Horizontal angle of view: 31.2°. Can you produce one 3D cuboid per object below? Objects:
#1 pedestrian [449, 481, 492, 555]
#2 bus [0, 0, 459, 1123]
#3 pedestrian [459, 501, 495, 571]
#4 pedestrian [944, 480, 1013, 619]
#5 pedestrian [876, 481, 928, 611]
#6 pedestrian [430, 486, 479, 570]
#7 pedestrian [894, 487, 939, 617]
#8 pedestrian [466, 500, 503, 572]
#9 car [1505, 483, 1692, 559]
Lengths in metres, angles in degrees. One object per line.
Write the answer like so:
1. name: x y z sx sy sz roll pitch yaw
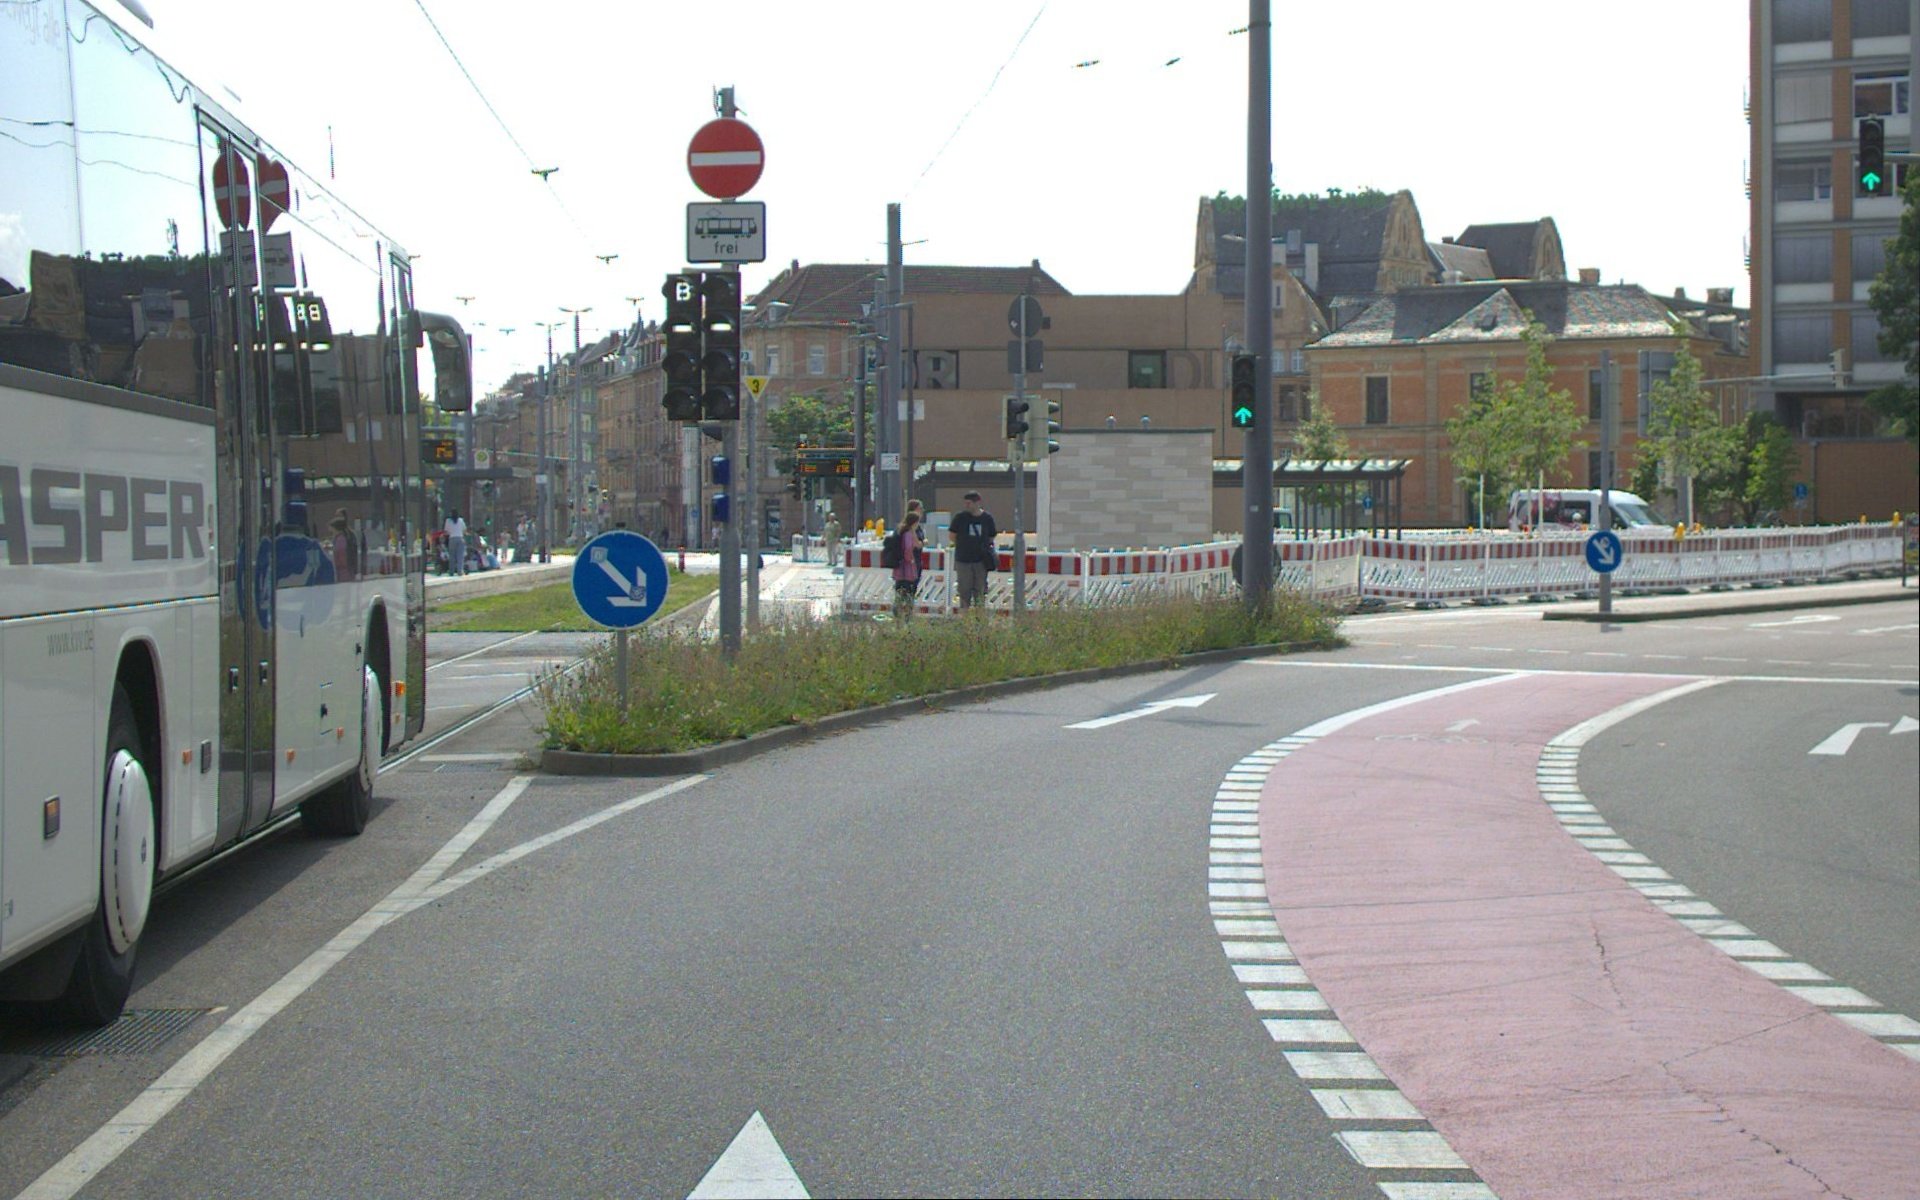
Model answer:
1. pedestrian: -13.366 -2.236 93.900 0.940 2.007 0.731 1 1 -27
2. bus: -3.952 -0.522 12.887 2.917 3.316 12.208 1 1 -3
3. pedestrian: -14.061 -1.855 100.079 0.940 2.007 0.731 1 1 -13
4. pedestrian: 0.252 -0.691 46.774 0.791 1.878 0.613 -1 1 -17
5. pedestrian: -0.762 -0.714 45.228 0.611 1.701 0.623 0 1 6
6. pedestrian: -12.258 -1.736 83.323 0.940 2.007 0.731 0 1 -32
7. pedestrian: -0.582 -0.650 46.217 0.409 1.730 0.620 0 1 21
8. pedestrian: -13.369 -1.789 96.744 0.940 2.007 0.731 1 1 -13
9. car: 19.823 -2.443 106.960 2.295 2.311 5.587 -1 1 -38
